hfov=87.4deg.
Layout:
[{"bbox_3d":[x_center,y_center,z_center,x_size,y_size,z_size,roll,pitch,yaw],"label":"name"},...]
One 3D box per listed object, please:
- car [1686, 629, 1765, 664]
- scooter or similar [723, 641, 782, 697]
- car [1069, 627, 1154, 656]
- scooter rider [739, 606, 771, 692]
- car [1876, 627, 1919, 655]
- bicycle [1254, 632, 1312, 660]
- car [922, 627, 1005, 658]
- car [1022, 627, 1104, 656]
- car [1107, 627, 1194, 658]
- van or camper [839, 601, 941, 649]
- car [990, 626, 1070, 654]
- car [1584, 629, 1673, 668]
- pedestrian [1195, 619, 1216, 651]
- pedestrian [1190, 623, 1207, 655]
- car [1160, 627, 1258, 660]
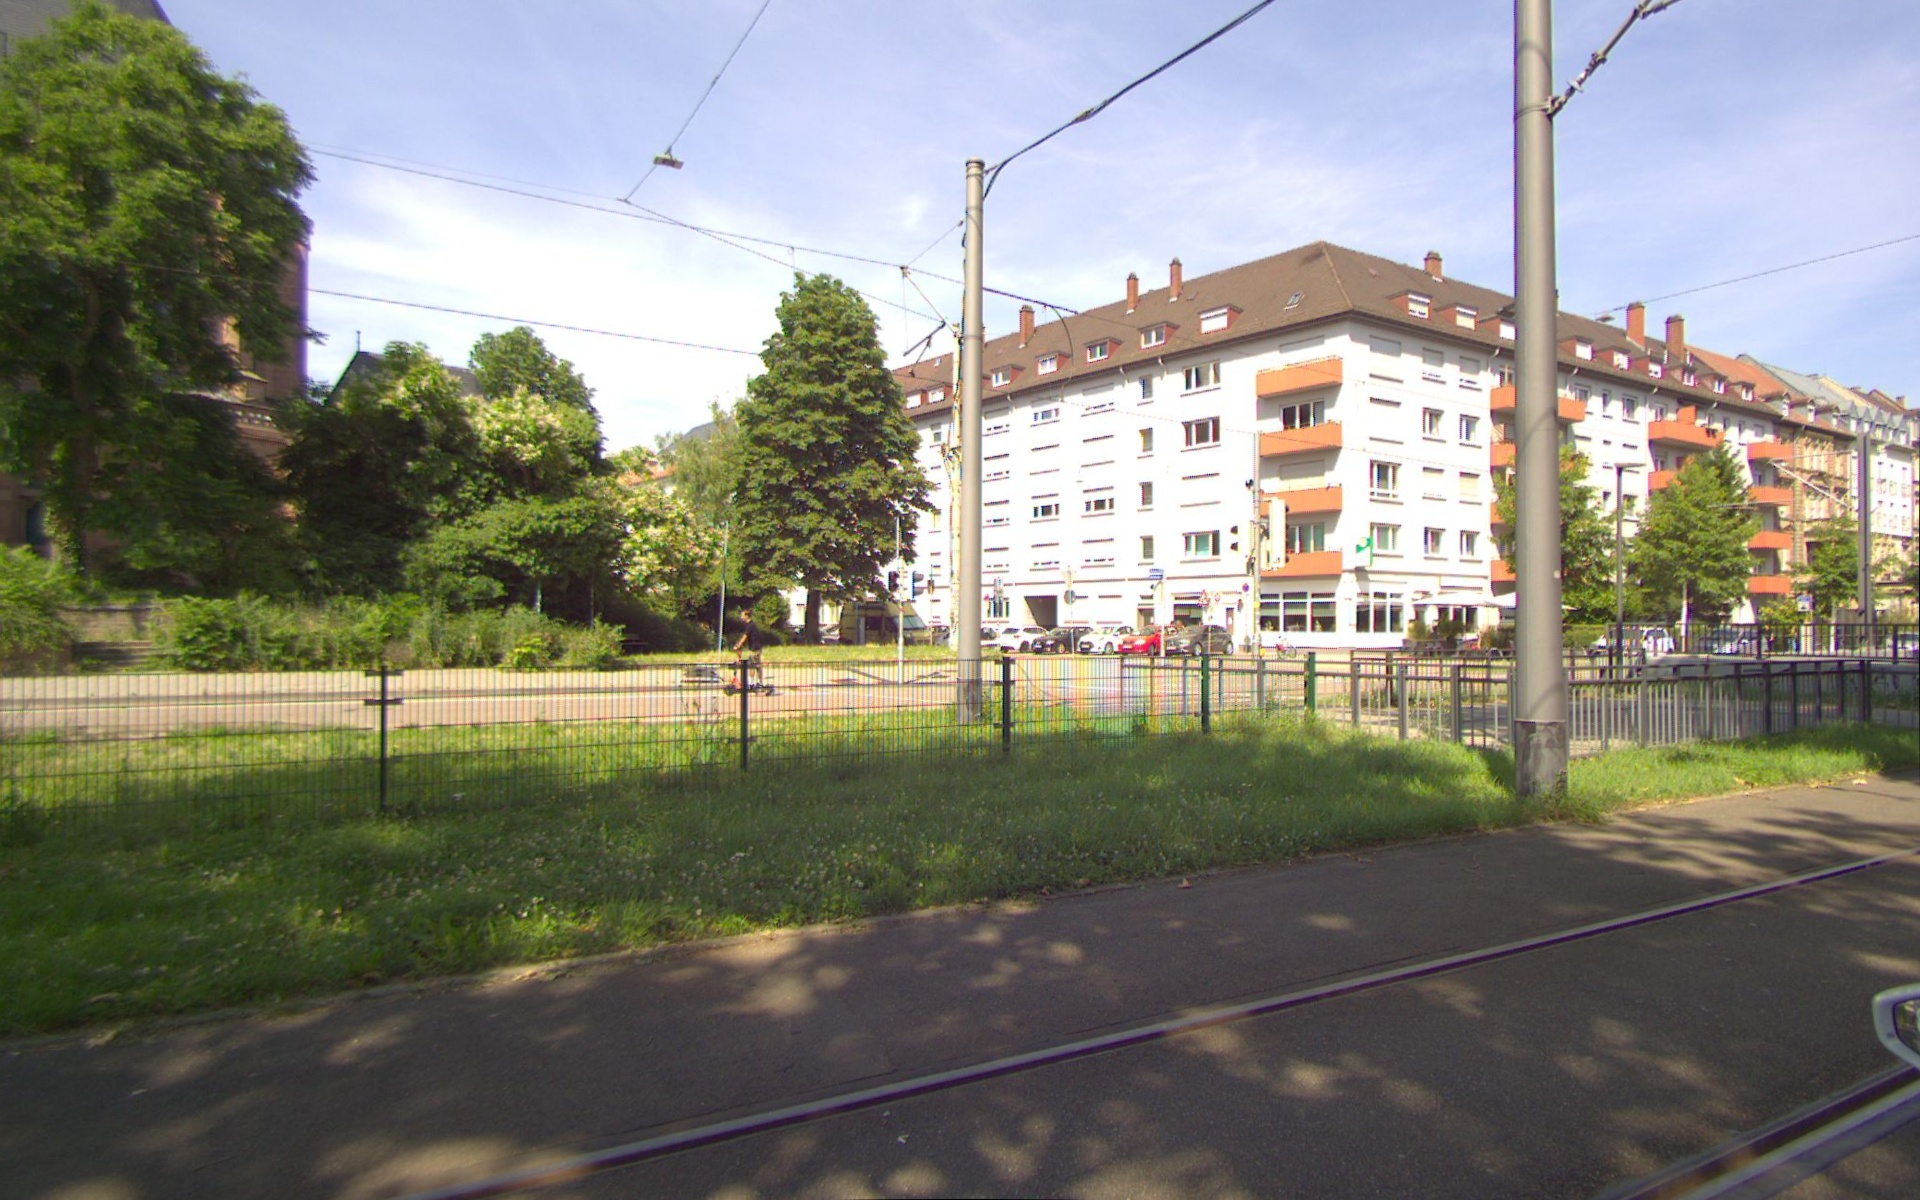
[{"bbox_3d":[34.536,2.090,45.313,3.961,1.518,1.759,1,-3,-36],"label":"car"},{"bbox_3d":[-4.645,1.533,22.427,1.249,1.220,0.655,1,-1,-15],"label":"scooter or similar"},{"bbox_3d":[7.661,2.055,50.666,4.129,1.425,1.918,1,-2,-38],"label":"car"},{"bbox_3d":[-4.589,1.085,22.450,0.658,1.891,0.662,0,-1,-15],"label":"scooter rider"},{"bbox_3d":[52.945,2.258,56.199,3.961,1.518,1.758,1,-2,-36],"label":"car"},{"bbox_3d":[14.135,1.988,43.893,2.779,1.152,0.905,1,-1,-34],"label":"bicycle"},{"bbox_3d":[0.144,1.981,47.594,3.702,1.425,1.823,-1,-2,44],"label":"car"},{"bbox_3d":[5.371,2.132,52.229,4.129,1.425,1.918,1,-2,-38],"label":"car"},{"bbox_3d":[9.204,1.998,48.350,4.129,1.425,1.918,1,-2,-38],"label":"car"},{"bbox_3d":[-3.687,1.272,51.985,2.228,2.360,5.704,1,-2,-42],"label":"van or camper"},{"bbox_3d":[3.806,2.156,54.506,4.129,1.425,1.917,1,-1,-38],"label":"car"},{"bbox_3d":[27.269,1.947,40.940,3.961,1.518,1.759,1,-3,-36],"label":"car"},{"bbox_3d":[12.319,1.762,50.426,0.846,1.593,0.688,0,-1,36],"label":"pedestrian"},{"bbox_3d":[11.854,1.935,49.941,0.679,1.593,0.544,0,-1,36],"label":"pedestrian"},{"bbox_3d":[11.372,1.946,45.757,4.598,1.394,1.821,1,-2,-36],"label":"car"}]
